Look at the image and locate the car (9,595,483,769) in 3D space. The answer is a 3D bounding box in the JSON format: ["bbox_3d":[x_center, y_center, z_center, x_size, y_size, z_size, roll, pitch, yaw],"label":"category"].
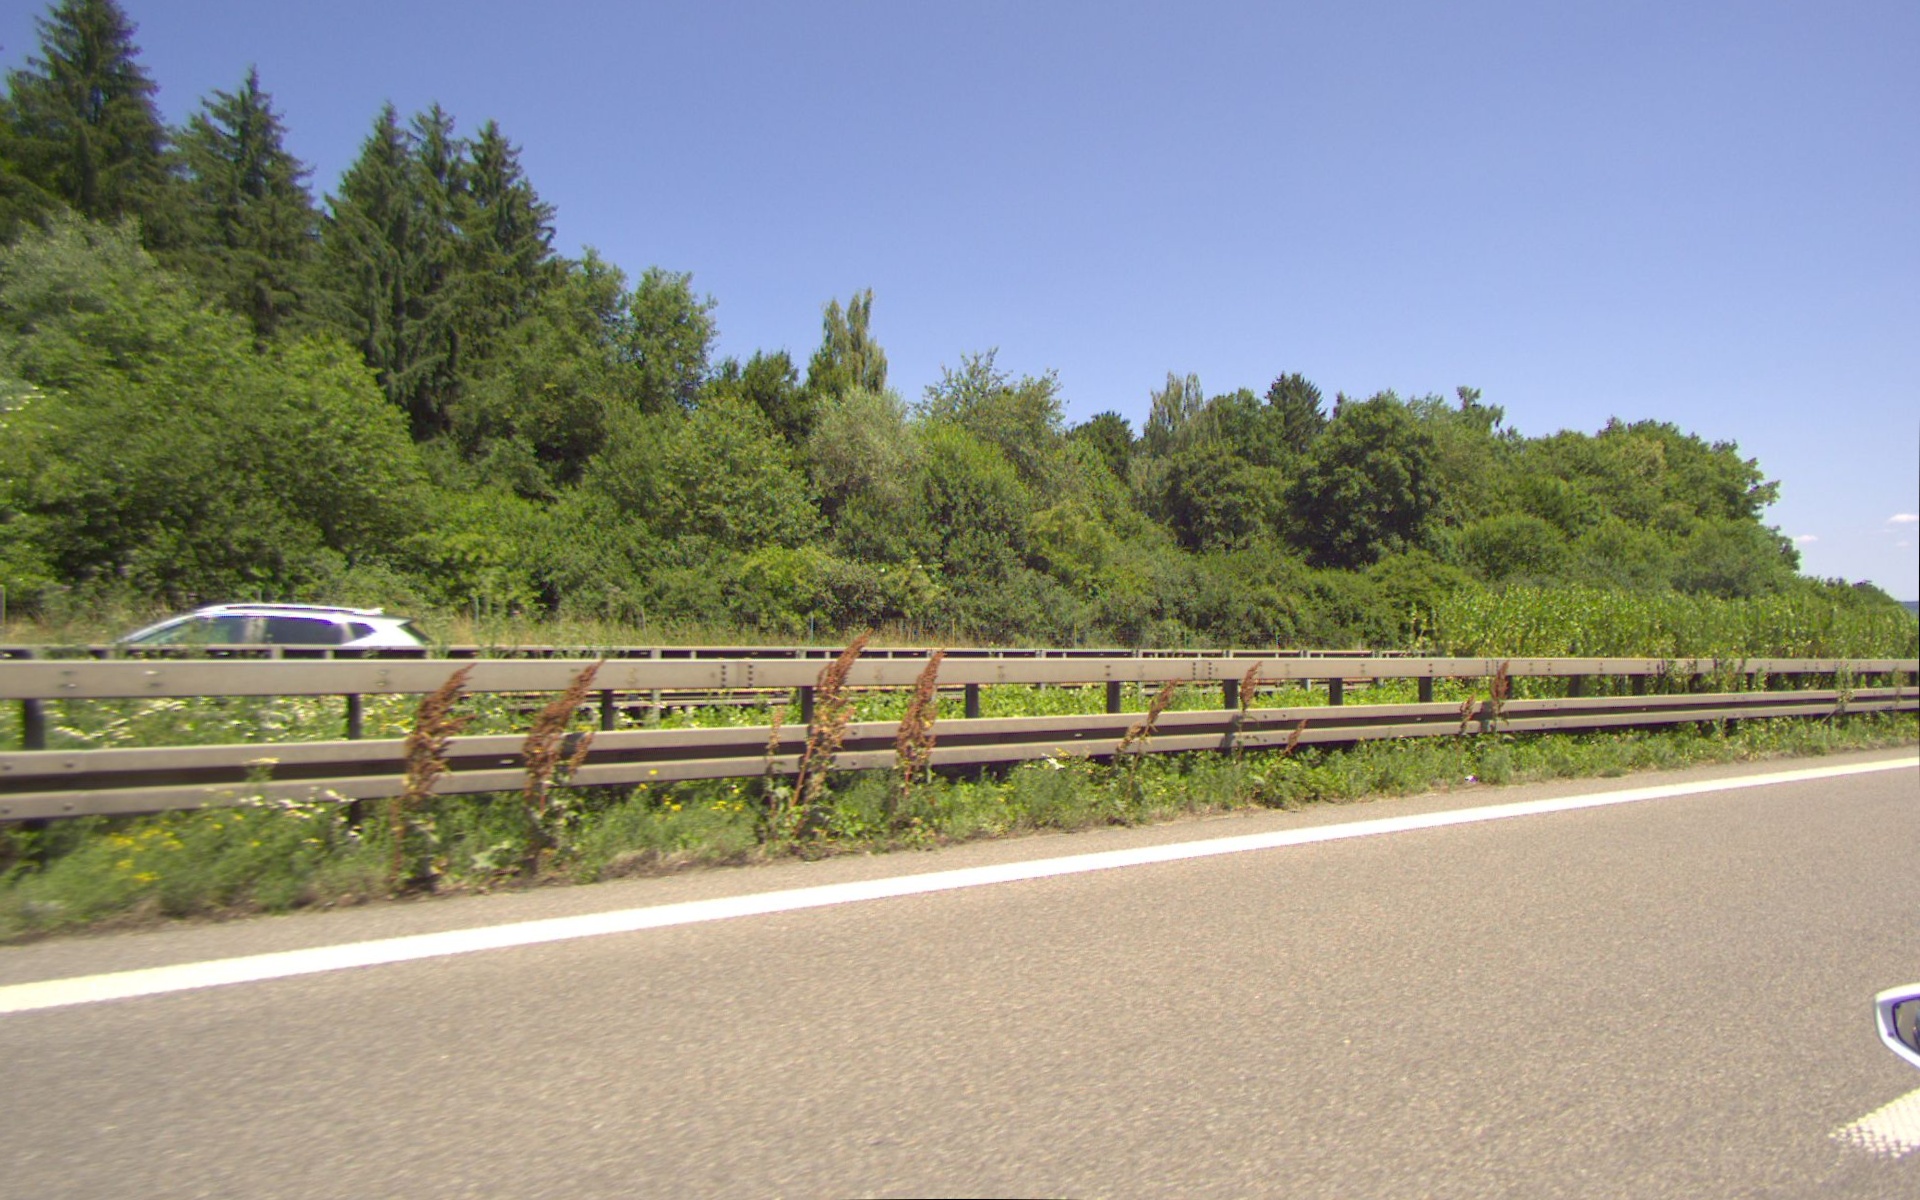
[{"bbox_3d":[-7.109,0.756,10.470,3.742,1.524,1.648,1,0,-30],"label":"car"}]
